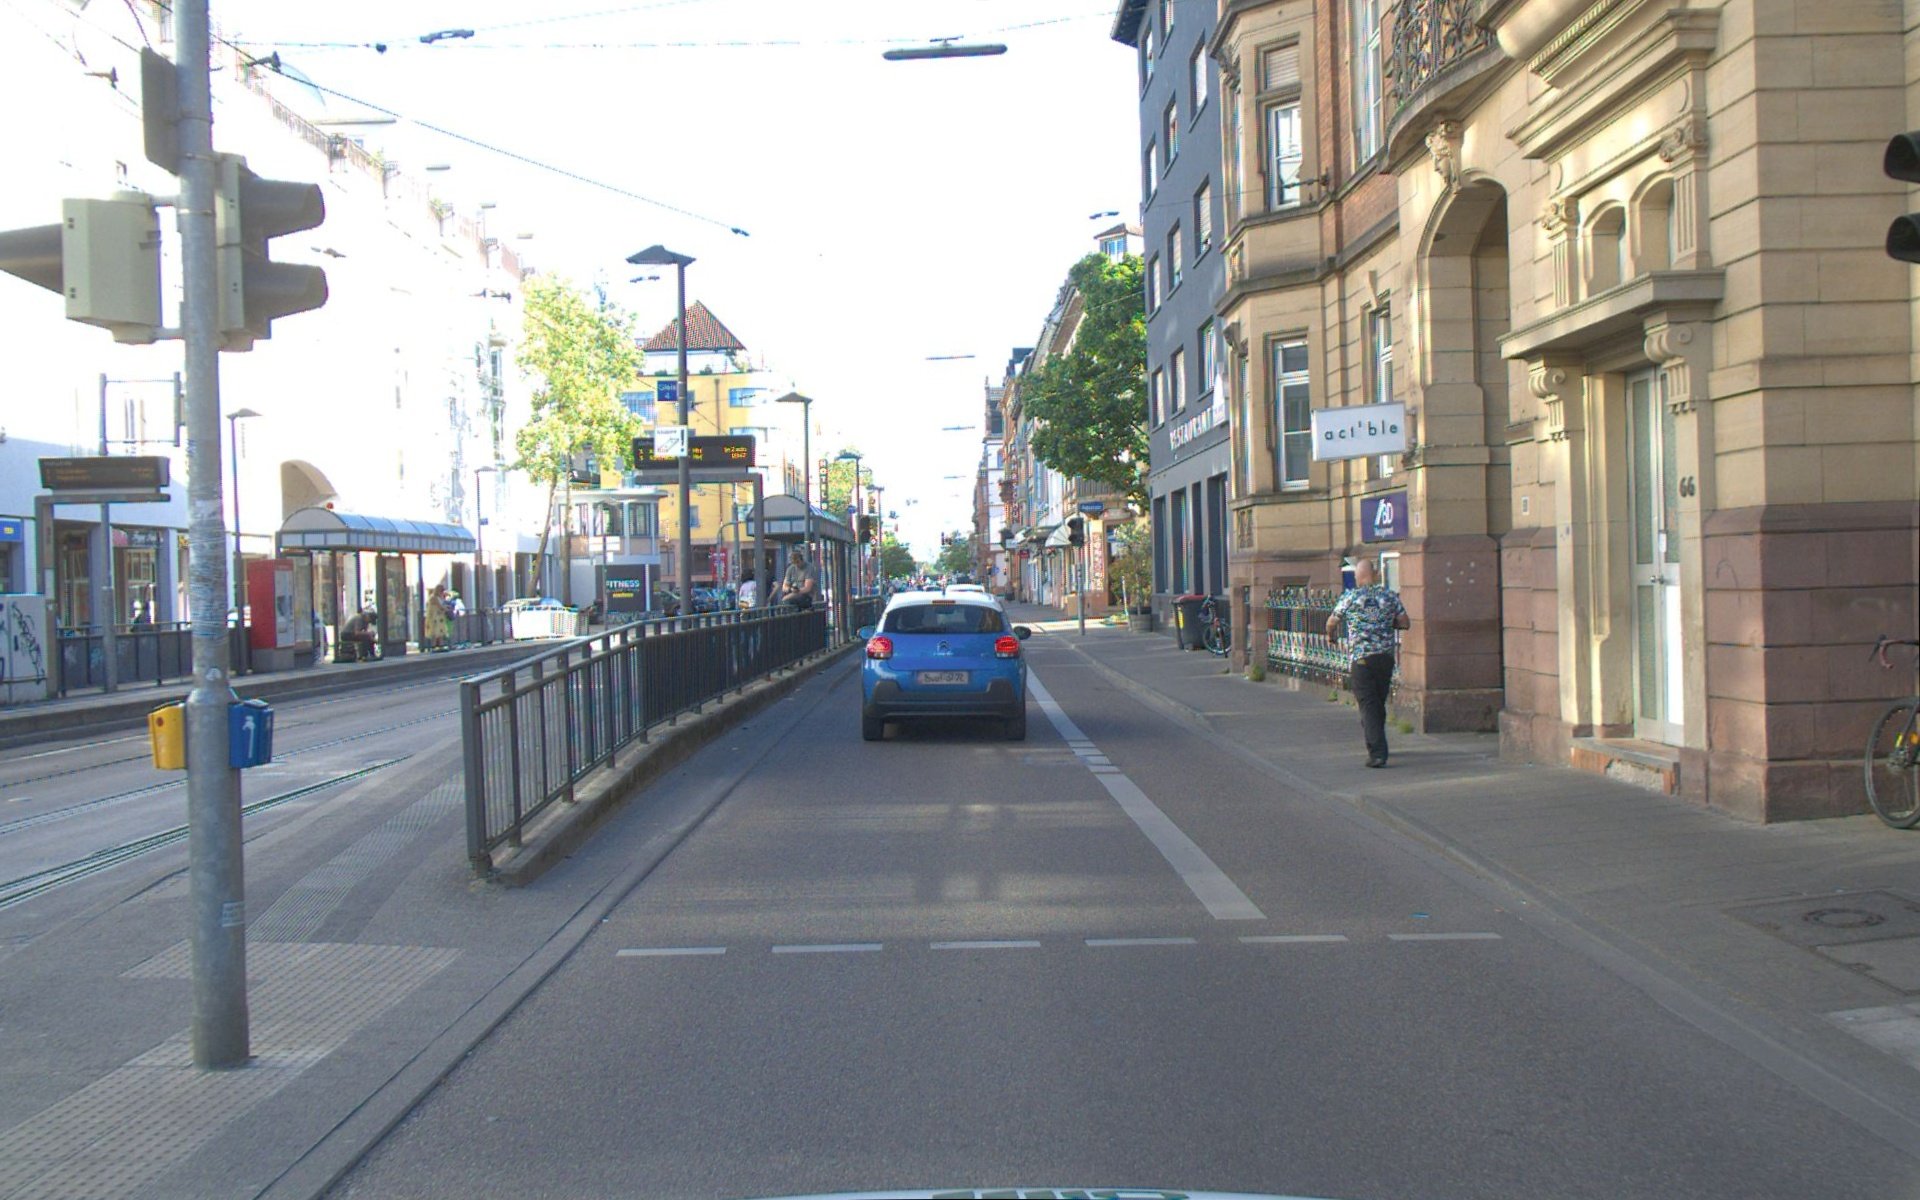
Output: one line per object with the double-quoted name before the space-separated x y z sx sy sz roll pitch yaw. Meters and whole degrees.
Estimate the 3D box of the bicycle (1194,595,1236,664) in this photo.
"bicycle" 4.624 0.517 30.066 0.450 1.142 1.773 -2 1 0

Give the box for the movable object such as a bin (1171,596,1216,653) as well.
"movable object such as a bin" 4.655 0.487 33.009 0.733 1.054 0.754 -5 1 0

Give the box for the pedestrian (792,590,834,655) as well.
"pedestrian" -3.025 0.454 34.111 0.749 1.294 0.719 -1 1 2

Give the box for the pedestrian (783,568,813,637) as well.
"pedestrian" -3.805 0.049 38.845 0.608 1.585 0.568 -1 1 0

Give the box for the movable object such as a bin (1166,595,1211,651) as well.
"movable object such as a bin" 4.659 0.461 33.778 0.733 1.054 0.754 -5 1 0

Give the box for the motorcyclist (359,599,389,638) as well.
"motorcyclist" -16.791 0.530 47.407 0.547 1.093 0.827 1 0 1

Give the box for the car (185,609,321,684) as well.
"car" -16.951 1.080 39.839 1.656 1.535 3.647 -1 2 0

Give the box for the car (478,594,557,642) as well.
"car" -15.053 0.583 56.435 1.656 1.445 3.647 -1 2 0

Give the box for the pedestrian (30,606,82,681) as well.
"pedestrian" -20.522 0.972 37.552 0.826 1.649 0.597 -1 1 -5

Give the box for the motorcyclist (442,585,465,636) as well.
"motorcyclist" -15.439 0.319 50.443 0.477 1.528 0.722 1 0 0

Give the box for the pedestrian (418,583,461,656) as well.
"pedestrian" -11.754 0.431 37.332 0.716 1.586 0.743 -1 2 -2

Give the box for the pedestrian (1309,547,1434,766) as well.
"pedestrian" 3.533 0.454 14.282 0.764 1.780 1.093 -1 3 -3

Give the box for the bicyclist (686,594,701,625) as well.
"bicyclist" -13.746 0.480 85.336 0.658 1.584 0.778 -1 2 1

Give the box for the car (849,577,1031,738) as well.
"car" -0.201 0.533 17.789 1.744 1.476 3.654 1 2 0

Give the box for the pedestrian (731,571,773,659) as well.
"pedestrian" -3.847 0.273 30.592 0.575 1.589 0.468 0 2 35

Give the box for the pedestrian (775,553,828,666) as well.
"pedestrian" -2.466 0.141 25.852 0.623 1.727 0.934 1 0 7

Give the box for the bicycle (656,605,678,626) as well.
"bicycle" -15.626 0.828 88.228 0.665 1.019 2.687 -1 2 1

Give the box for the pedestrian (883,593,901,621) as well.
"pedestrian" -4.137 0.402 100.689 0.829 1.682 0.691 -2 2 -29

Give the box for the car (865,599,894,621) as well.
"car" -6.555 0.798 134.858 1.911 1.511 4.002 -2 2 2

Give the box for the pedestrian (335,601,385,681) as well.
"pedestrian" -12.064 0.810 33.271 0.716 1.554 0.743 -1 2 -2

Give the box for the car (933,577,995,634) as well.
"car" 0.125 0.150 54.169 1.953 1.773 4.000 1 1 0

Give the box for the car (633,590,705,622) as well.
"car" -17.039 0.338 97.013 3.908 1.703 1.956 -1 2 -4

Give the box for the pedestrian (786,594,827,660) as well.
"pedestrian" -3.077 0.537 33.224 0.696 1.294 0.657 -1 1 2

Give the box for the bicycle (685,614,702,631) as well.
"bicycle" -13.746 1.166 85.362 0.554 0.770 1.938 -1 2 1

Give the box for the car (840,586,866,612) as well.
"car" -7.650 -0.088 118.853 1.717 1.643 4.826 -3 2 -2

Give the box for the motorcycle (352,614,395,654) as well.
"motorcycle" -16.793 0.967 47.424 0.547 1.093 1.845 1 0 1

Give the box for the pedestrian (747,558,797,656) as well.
"pedestrian" -3.533 0.133 31.090 0.705 1.808 0.563 0 2 35

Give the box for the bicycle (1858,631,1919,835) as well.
"bicycle" 5.249 0.719 8.539 0.250 1.070 1.769 1 0 0
